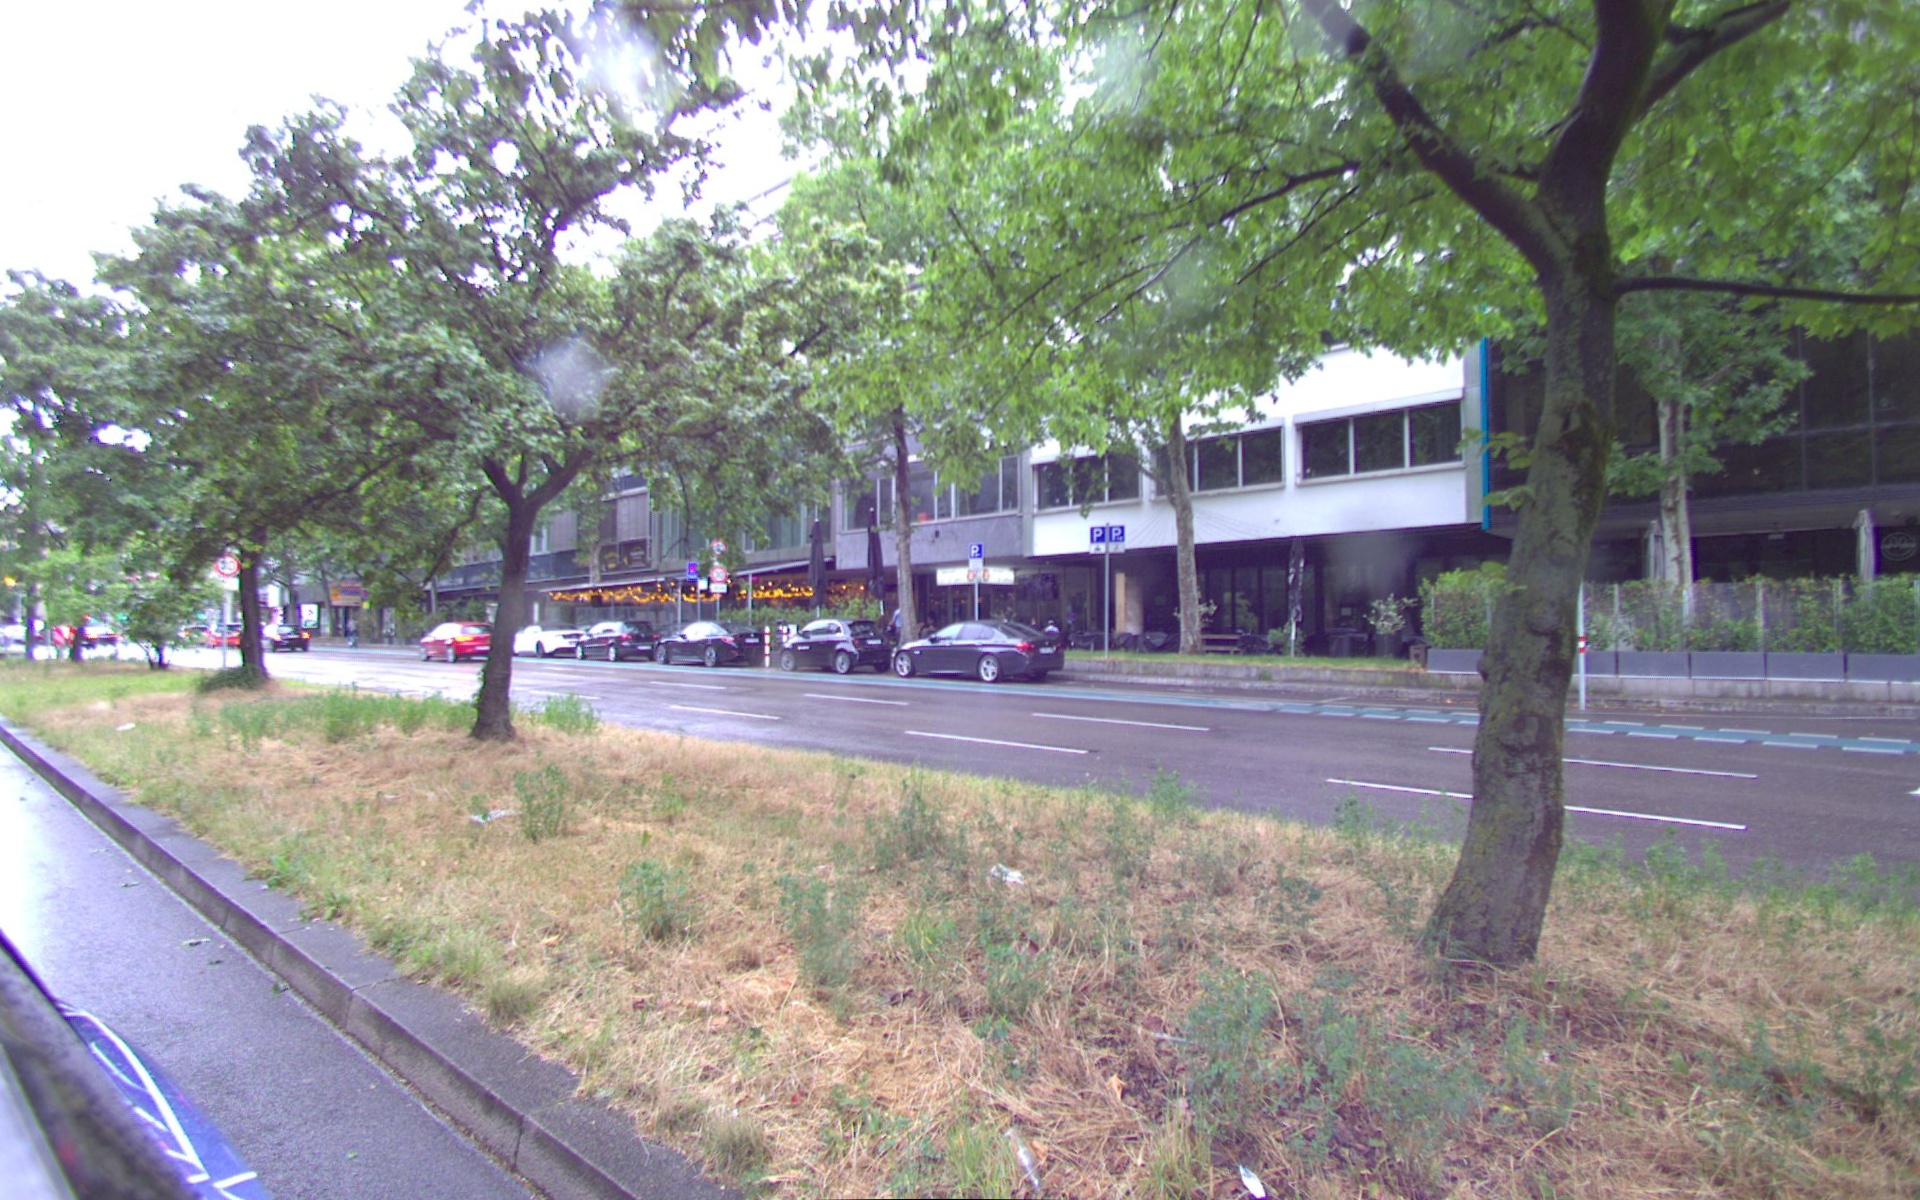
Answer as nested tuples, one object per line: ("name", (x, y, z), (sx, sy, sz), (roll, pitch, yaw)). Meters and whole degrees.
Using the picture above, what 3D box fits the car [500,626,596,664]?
("car", (-16.484, 1.762, 40.385), (4.392, 1.336, 1.856), (-1, 0, 42))

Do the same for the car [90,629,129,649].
("car", (-65.322, 2.966, 77.698), (3.524, 1.400, 1.657), (-1, 0, 39))

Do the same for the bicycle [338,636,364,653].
("bicycle", (-33.374, 2.433, 55.454), (2.232, 0.849, 0.705), (-1, 0, 45))

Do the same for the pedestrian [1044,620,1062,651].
("pedestrian", (3.027, 1.145, 32.901), (0.451, 0.970, 0.454), (-1, 0, 26))

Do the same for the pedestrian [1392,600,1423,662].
("pedestrian", (12.224, 0.848, 27.638), (0.623, 1.660, 0.598), (-1, 0, 37))

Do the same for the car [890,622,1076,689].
("car", (0.465, 1.276, 24.725), (1.849, 1.396, 4.539), (-1, 0, -45))

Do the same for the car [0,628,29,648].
("car", (-75.054, 2.992, 80.010), (3.524, 1.400, 1.657), (-1, 0, 39))

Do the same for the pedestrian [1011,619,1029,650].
("pedestrian", (1.981, 1.127, 33.479), (0.461, 1.000, 0.455), (-1, 0, 26))

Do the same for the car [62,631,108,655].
("car", (-56.396, 2.730, 65.218), (3.524, 1.400, 1.657), (-1, 0, 39))

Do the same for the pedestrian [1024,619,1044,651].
("pedestrian", (2.420, 1.139, 33.077), (0.488, 1.008, 0.481), (-1, 0, 26))

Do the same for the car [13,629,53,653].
("car", (-66.685, 2.933, 72.776), (3.820, 1.588, 1.856), (-1, 0, 44))

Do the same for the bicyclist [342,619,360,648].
("bicyclist", (-33.398, 1.826, 55.478), (0.609, 1.582, 0.705), (-1, 0, 44))

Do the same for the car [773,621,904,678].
("car", (-3.425, 1.323, 28.239), (3.400, 1.433, 1.851), (-1, 0, 42))

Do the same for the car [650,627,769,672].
("car", (-8.064, 1.530, 32.401), (4.319, 1.249, 1.625), (-1, 0, 44))

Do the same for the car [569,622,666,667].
("car", (-12.396, 1.578, 36.557), (3.788, 1.464, 1.727), (-1, 0, 42))

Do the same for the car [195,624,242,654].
("car", (-46.506, 2.387, 63.445), (3.860, 1.738, 1.729), (-1, 0, 44))

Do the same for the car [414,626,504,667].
("car", (-18.524, 1.673, 37.367), (3.737, 1.335, 1.742), (-1, 0, 42))

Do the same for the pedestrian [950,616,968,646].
("pedestrian", (-0.041, 1.090, 35.412), (0.423, 1.024, 0.459), (-1, 0, 39))

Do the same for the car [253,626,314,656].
("car", (-35.638, 2.136, 53.293), (4.106, 1.427, 1.843), (-1, 0, 44))

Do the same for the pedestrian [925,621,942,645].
("pedestrian", (-0.958, 1.187, 36.441), (0.433, 0.856, 0.435), (-1, 0, 39))

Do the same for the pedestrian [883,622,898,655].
("pedestrian", (-2.549, 1.406, 37.298), (0.438, 1.195, 0.468), (-1, 0, -18))
